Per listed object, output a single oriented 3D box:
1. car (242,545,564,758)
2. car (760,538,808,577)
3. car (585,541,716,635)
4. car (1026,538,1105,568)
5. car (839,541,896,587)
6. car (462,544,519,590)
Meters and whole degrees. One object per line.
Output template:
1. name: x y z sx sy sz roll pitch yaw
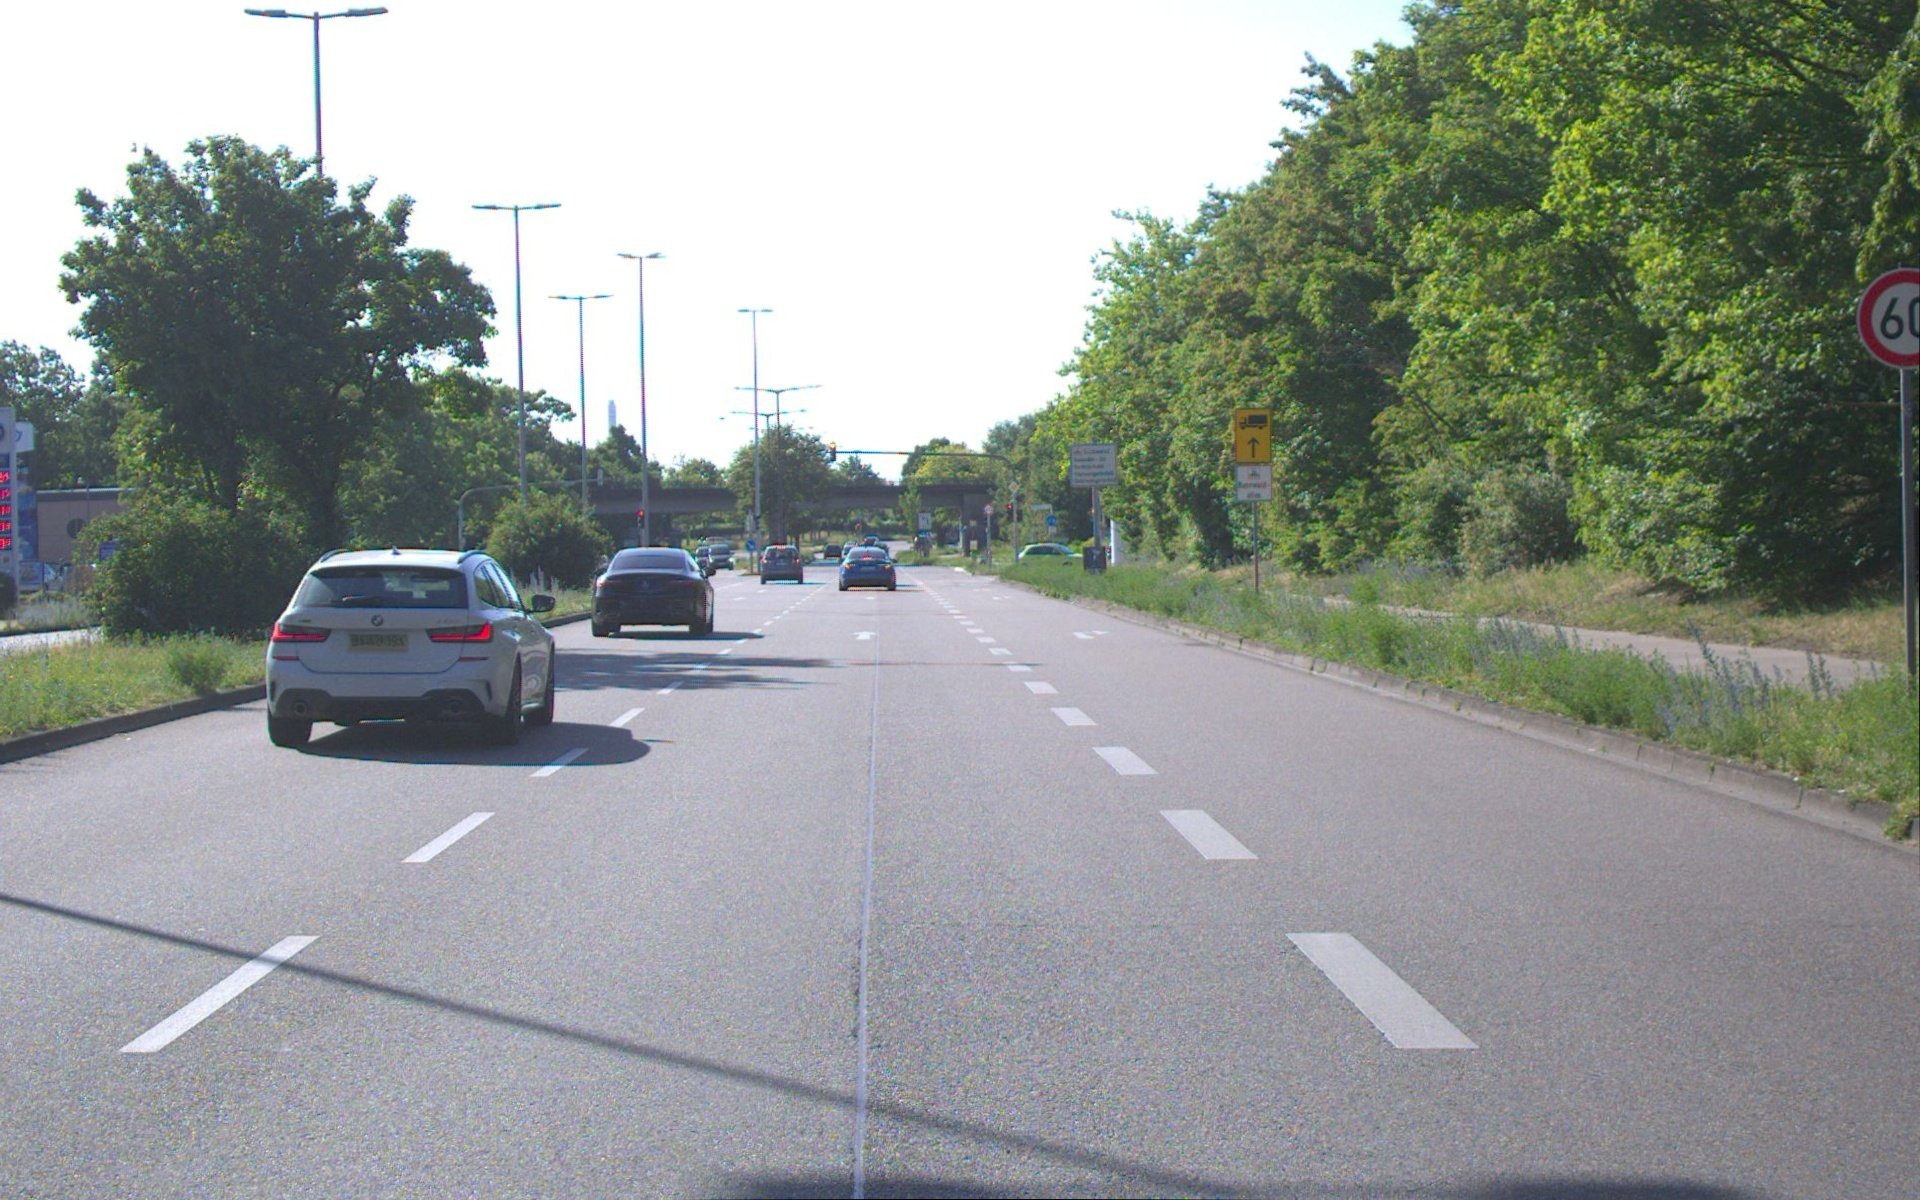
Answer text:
1. car: -4.210 0.329 26.653 1.861 1.450 4.548 1 1 -2
2. car: -7.280 -1.780 142.252 1.861 1.560 4.548 -1 1 -2
3. car: -5.091 -0.227 57.096 1.861 1.450 4.548 -1 1 -2
4. car: 5.011 -2.217 162.709 3.457 1.392 1.438 0 1 31
5. car: -3.137 -1.243 116.622 1.861 1.494 4.337 -1 1 -2
6. car: -19.900 -1.427 145.843 1.739 1.796 4.672 -4 1 -1
